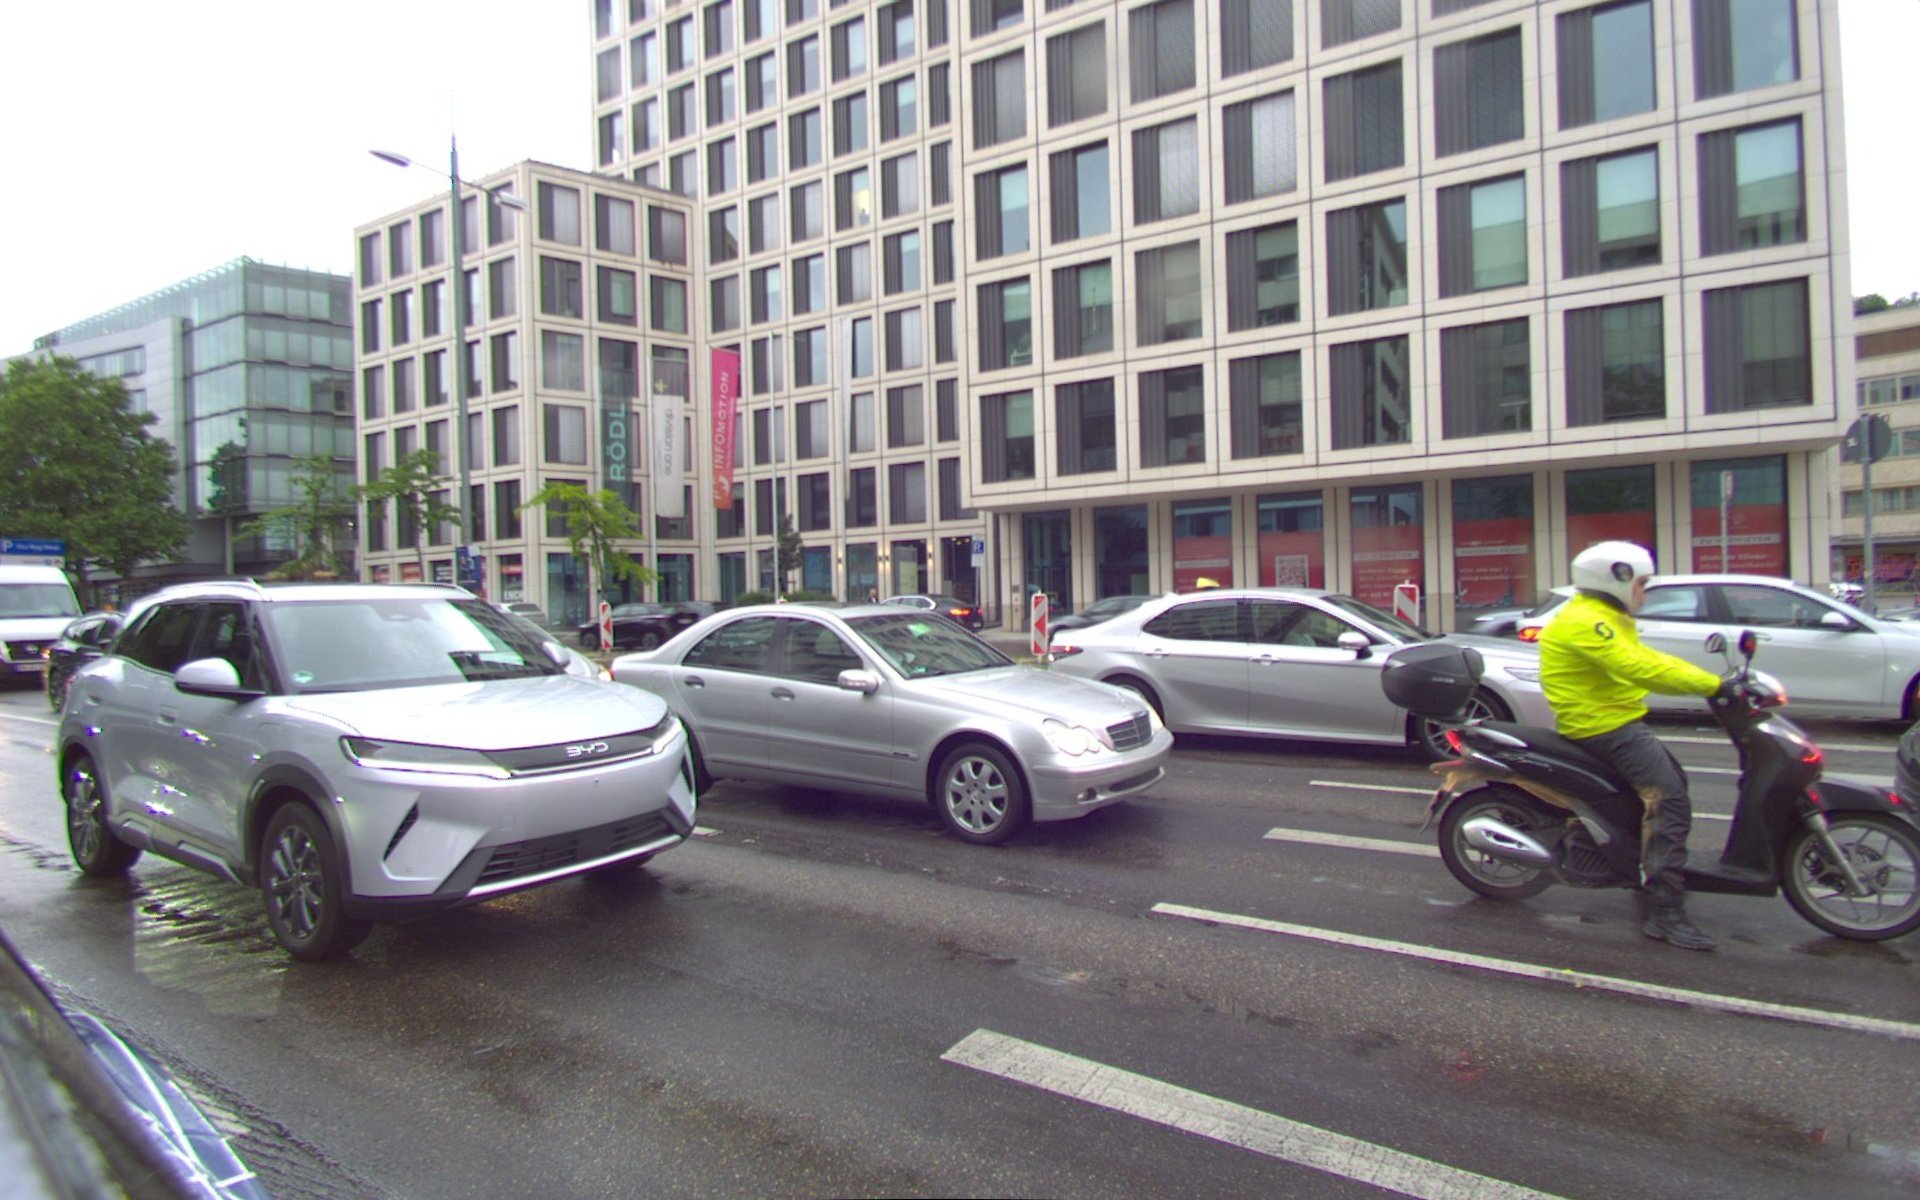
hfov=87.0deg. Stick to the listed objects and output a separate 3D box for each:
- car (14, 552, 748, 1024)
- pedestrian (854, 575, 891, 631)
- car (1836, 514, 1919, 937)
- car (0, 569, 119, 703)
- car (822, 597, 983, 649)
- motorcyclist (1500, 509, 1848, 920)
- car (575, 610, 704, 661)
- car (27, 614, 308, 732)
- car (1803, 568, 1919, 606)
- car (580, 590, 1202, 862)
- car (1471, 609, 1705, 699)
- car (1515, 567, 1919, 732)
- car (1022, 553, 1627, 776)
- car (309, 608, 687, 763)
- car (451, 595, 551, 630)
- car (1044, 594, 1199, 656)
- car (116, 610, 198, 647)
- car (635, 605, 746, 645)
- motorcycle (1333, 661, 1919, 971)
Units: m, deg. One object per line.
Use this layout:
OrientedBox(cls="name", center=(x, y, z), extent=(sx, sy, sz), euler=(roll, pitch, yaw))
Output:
OrientedBox(cls="car", center=(-3.290, 0.657, 5.493), extent=(4.159, 1.673, 1.793), euler=(-1, 1, 34))
OrientedBox(cls="pedestrian", center=(-2.768, 0.088, 32.143), extent=(0.963, 1.747, 0.608), euler=(-1, 1, 29))
OrientedBox(cls="car", center=(6.004, 0.413, 2.976), extent=(4.991, 1.526, 1.871), euler=(0, 1, 35))
OrientedBox(cls="car", center=(-19.221, 0.657, 20.319), extent=(5.708, 2.403, 2.234), euler=(0, 1, 36))
OrientedBox(cls="car", center=(-1.907, 0.767, 33.041), extent=(5.160, 1.581, 1.687), euler=(-1, -1, 29))
OrientedBox(cls="motorcyclist", center=(2.956, 0.407, 4.340), extent=(1.096, 1.486, 0.935), euler=(-1, 1, 30))
OrientedBox(cls="car", center=(-10.047, 1.099, 31.696), extent=(3.857, 1.530, 1.687), euler=(-1, -1, 29))
OrientedBox(cls="car", center=(-11.489, 0.945, 14.619), extent=(4.228, 1.412, 1.885), euler=(-1, 1, 32))
OrientedBox(cls="car", center=(42.483, -0.642, 47.816), extent=(1.976, 1.661, 4.442), euler=(-1, 1, 8))
OrientedBox(cls="car", center=(-0.658, 0.679, 7.332), extent=(4.372, 1.414, 1.718), euler=(-1, 1, 34))
OrientedBox(cls="car", center=(11.557, 0.960, 18.908), extent=(3.538, 1.530, 1.687), euler=(-1, -1, 29))
OrientedBox(cls="car", center=(7.705, 0.404, 9.806), extent=(3.981, 1.383, 1.770), euler=(-1, 1, 33))
OrientedBox(cls="car", center=(3.078, 0.434, 9.056), extent=(4.790, 1.532, 1.815), euler=(0, 1, 35))
OrientedBox(cls="car", center=(-5.393, 0.883, 11.779), extent=(4.104, 1.490, 1.761), euler=(-1, 1, 25))
OrientedBox(cls="car", center=(-19.882, 0.567, 43.764), extent=(4.354, 1.435, 1.687), euler=(-1, -1, 29))
OrientedBox(cls="car", center=(4.216, 0.648, 26.439), extent=(3.668, 1.530, 1.688), euler=(-1, -1, 26))
OrientedBox(cls="car", center=(-47.258, 1.649, 59.562), extent=(4.893, 2.029, 1.981), euler=(-1, 1, 28))
OrientedBox(cls="car", center=(-10.112, 0.943, 37.914), extent=(3.937, 1.435, 1.687), euler=(-1, -1, 29))
OrientedBox(cls="motorcycle", center=(2.904, 0.814, 4.386), extent=(2.285, 0.997, 0.935), euler=(-1, 1, 30))
